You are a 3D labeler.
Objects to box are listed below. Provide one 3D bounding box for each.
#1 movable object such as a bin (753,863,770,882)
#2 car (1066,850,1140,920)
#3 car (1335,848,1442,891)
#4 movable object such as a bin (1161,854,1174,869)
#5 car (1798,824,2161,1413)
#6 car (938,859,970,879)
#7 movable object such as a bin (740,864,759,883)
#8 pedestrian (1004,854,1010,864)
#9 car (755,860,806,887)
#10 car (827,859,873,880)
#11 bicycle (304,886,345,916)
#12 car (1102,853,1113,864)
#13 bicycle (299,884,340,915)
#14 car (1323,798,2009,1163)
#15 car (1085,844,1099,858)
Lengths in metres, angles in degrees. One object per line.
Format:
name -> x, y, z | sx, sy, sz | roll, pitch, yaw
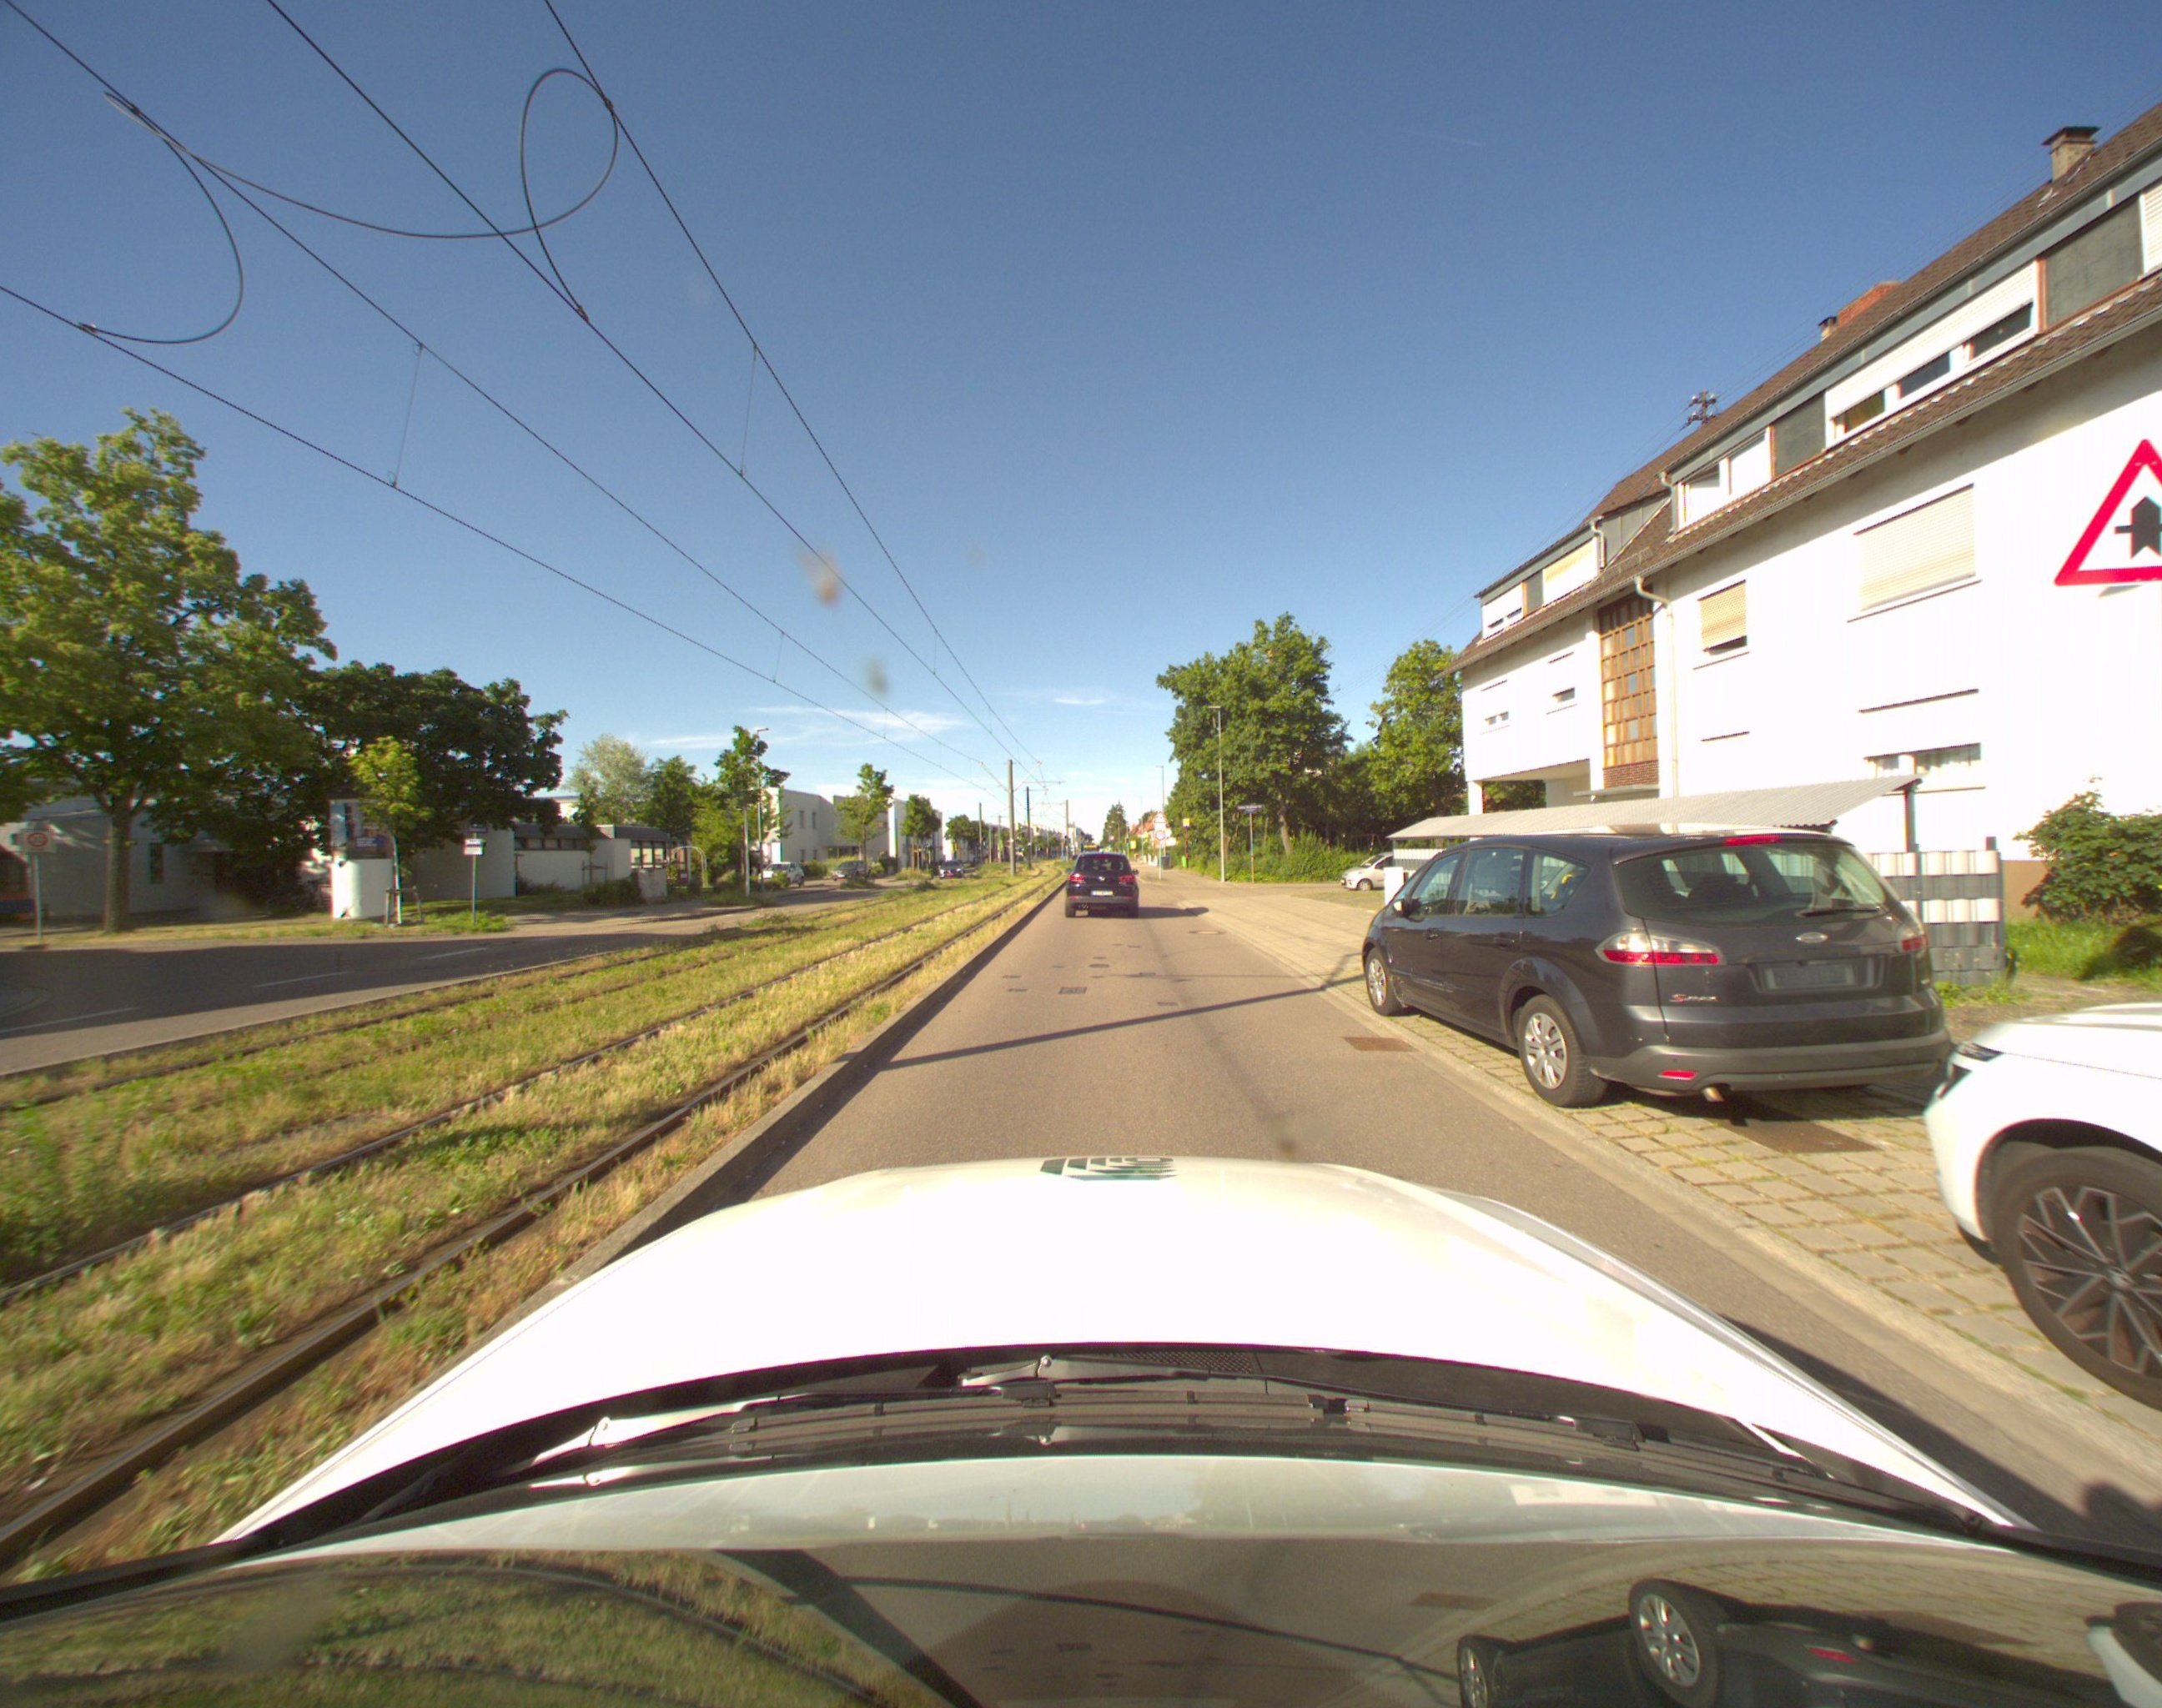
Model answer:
movable object such as a bin -> -24.417, 1.404, 62.182 | 0.660, 1.433, 1.258 | 0, 0, 9
car -> 0.508, 0.737, 21.474 | 1.770, 1.670, 3.998 | 0, 0, -1
car -> 12.017, 0.590, 32.021 | 3.580, 1.530, 1.648 | -2, -1, 2
movable object such as a bin -> 6.822, 0.599, 64.111 | 0.971, 1.111, 1.172 | -2, 0, 4
car -> 3.509, 0.650, 1.025 | 1.650, 1.492, 4.162 | -2, 0, 3
car -> -9.958, 1.171, 64.231 | 1.682, 1.389, 4.388 | -4, 0, 1
movable object such as a bin -> -24.642, 1.427, 60.585 | 0.660, 1.383, 1.425 | 0, 0, 9
pedestrian -> -12.105, 0.851, 133.351 | 0.883, 1.587, 0.624 | -2, 0, -17
car -> -17.367, 1.106, 47.250 | 1.539, 1.491, 3.774 | 0, 0, 0
car -> -17.076, 1.134, 60.478 | 1.802, 1.461, 4.324 | 0, 0, 5
bicycle -> -28.160, 1.738, 30.316 | 1.039, 1.059, 0.303 | -2, 0, -17
car -> 4.464, 0.745, 137.986 | 1.770, 1.670, 3.998 | -2, 0, -1
bicycle -> -28.061, 1.682, 30.008 | 1.055, 1.082, 0.303 | -2, 0, -17
car -> 3.538, 0.592, 6.344 | 1.785, 1.628, 4.860 | -4, 0, 0
car -> 2.138, -0.503, 158.302 | 2.385, 2.564, 5.533 | -2, 0, 2
